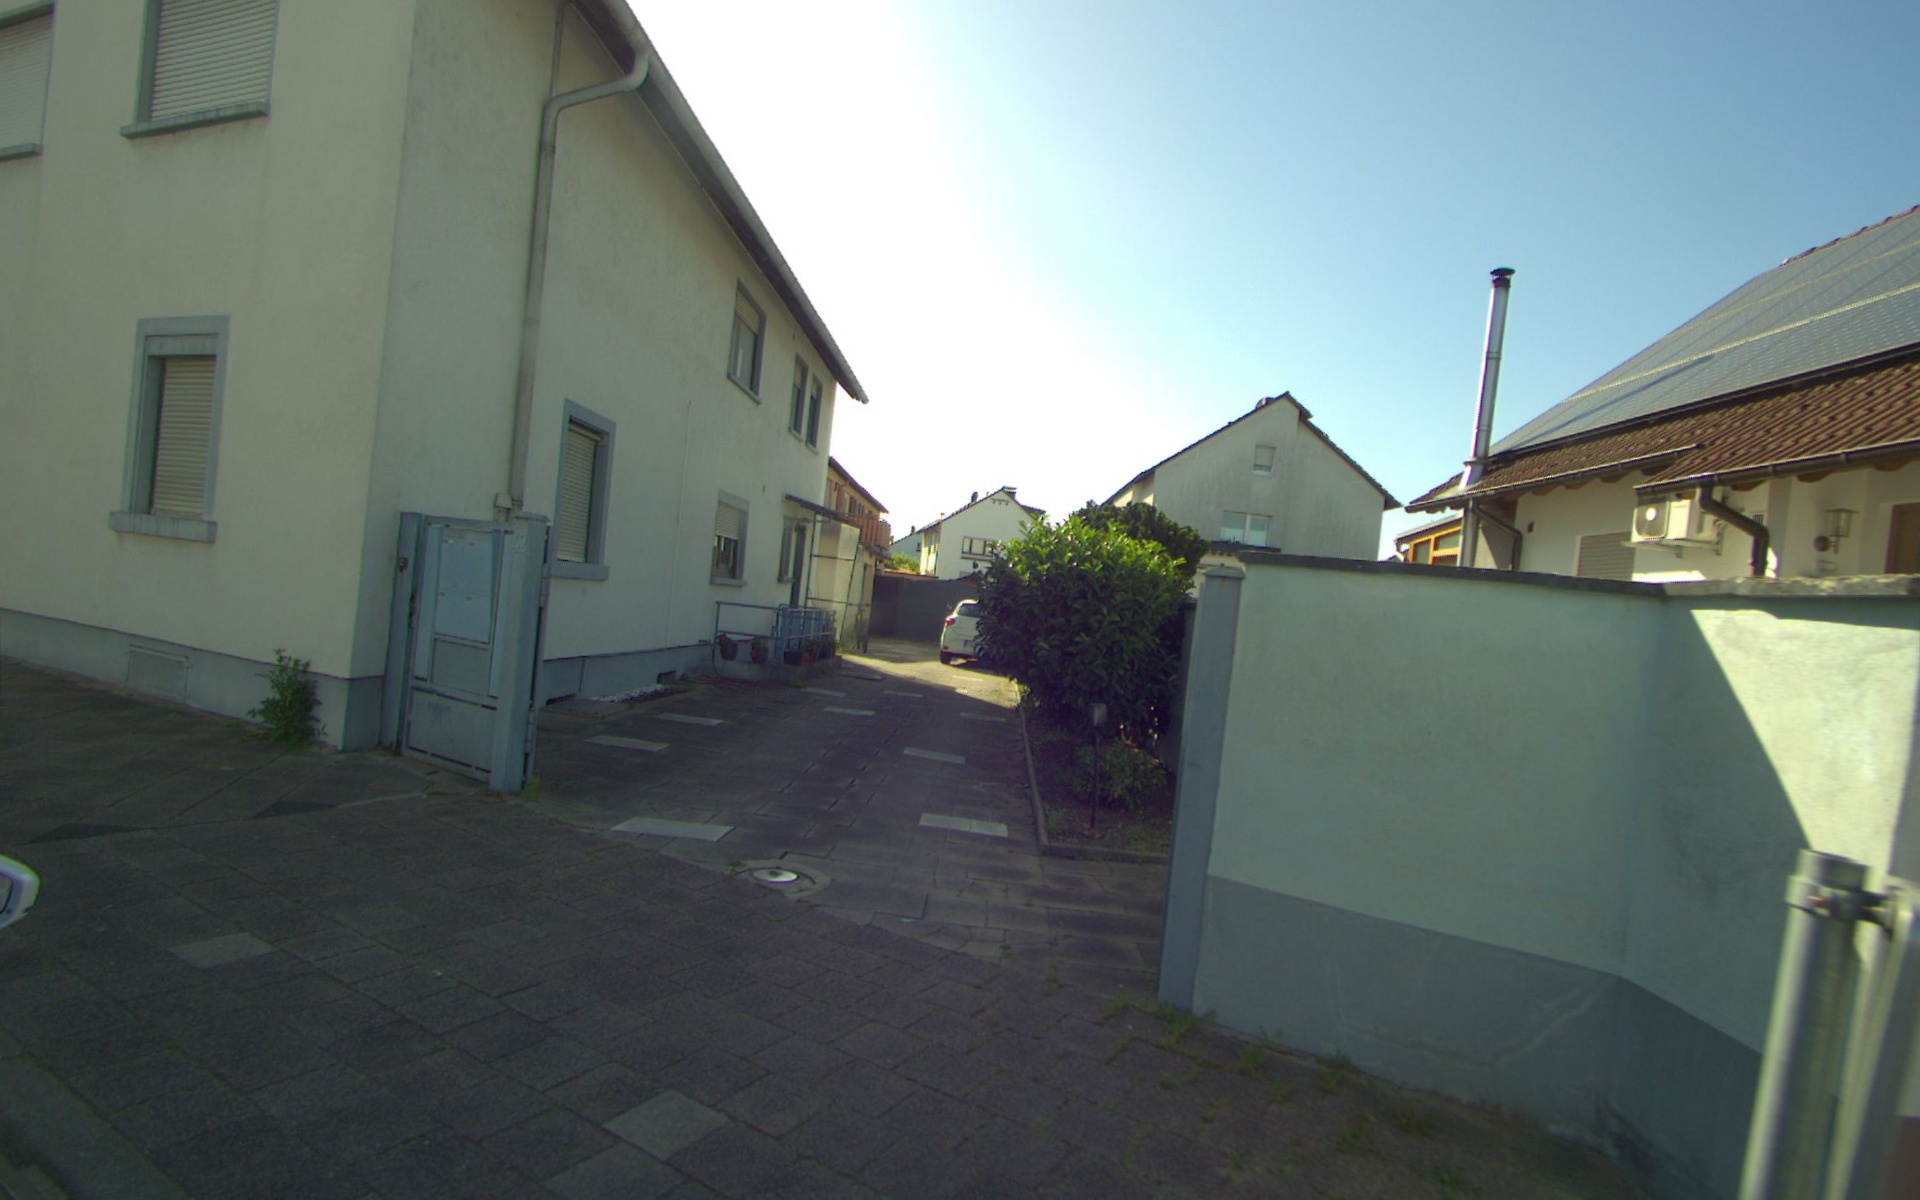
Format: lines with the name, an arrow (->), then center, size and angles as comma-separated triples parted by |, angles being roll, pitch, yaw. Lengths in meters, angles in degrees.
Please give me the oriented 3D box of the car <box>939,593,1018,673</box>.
car -> 0.446, 0.736, 23.404 | 1.549, 1.565, 2.966 | 7, 0, 2
